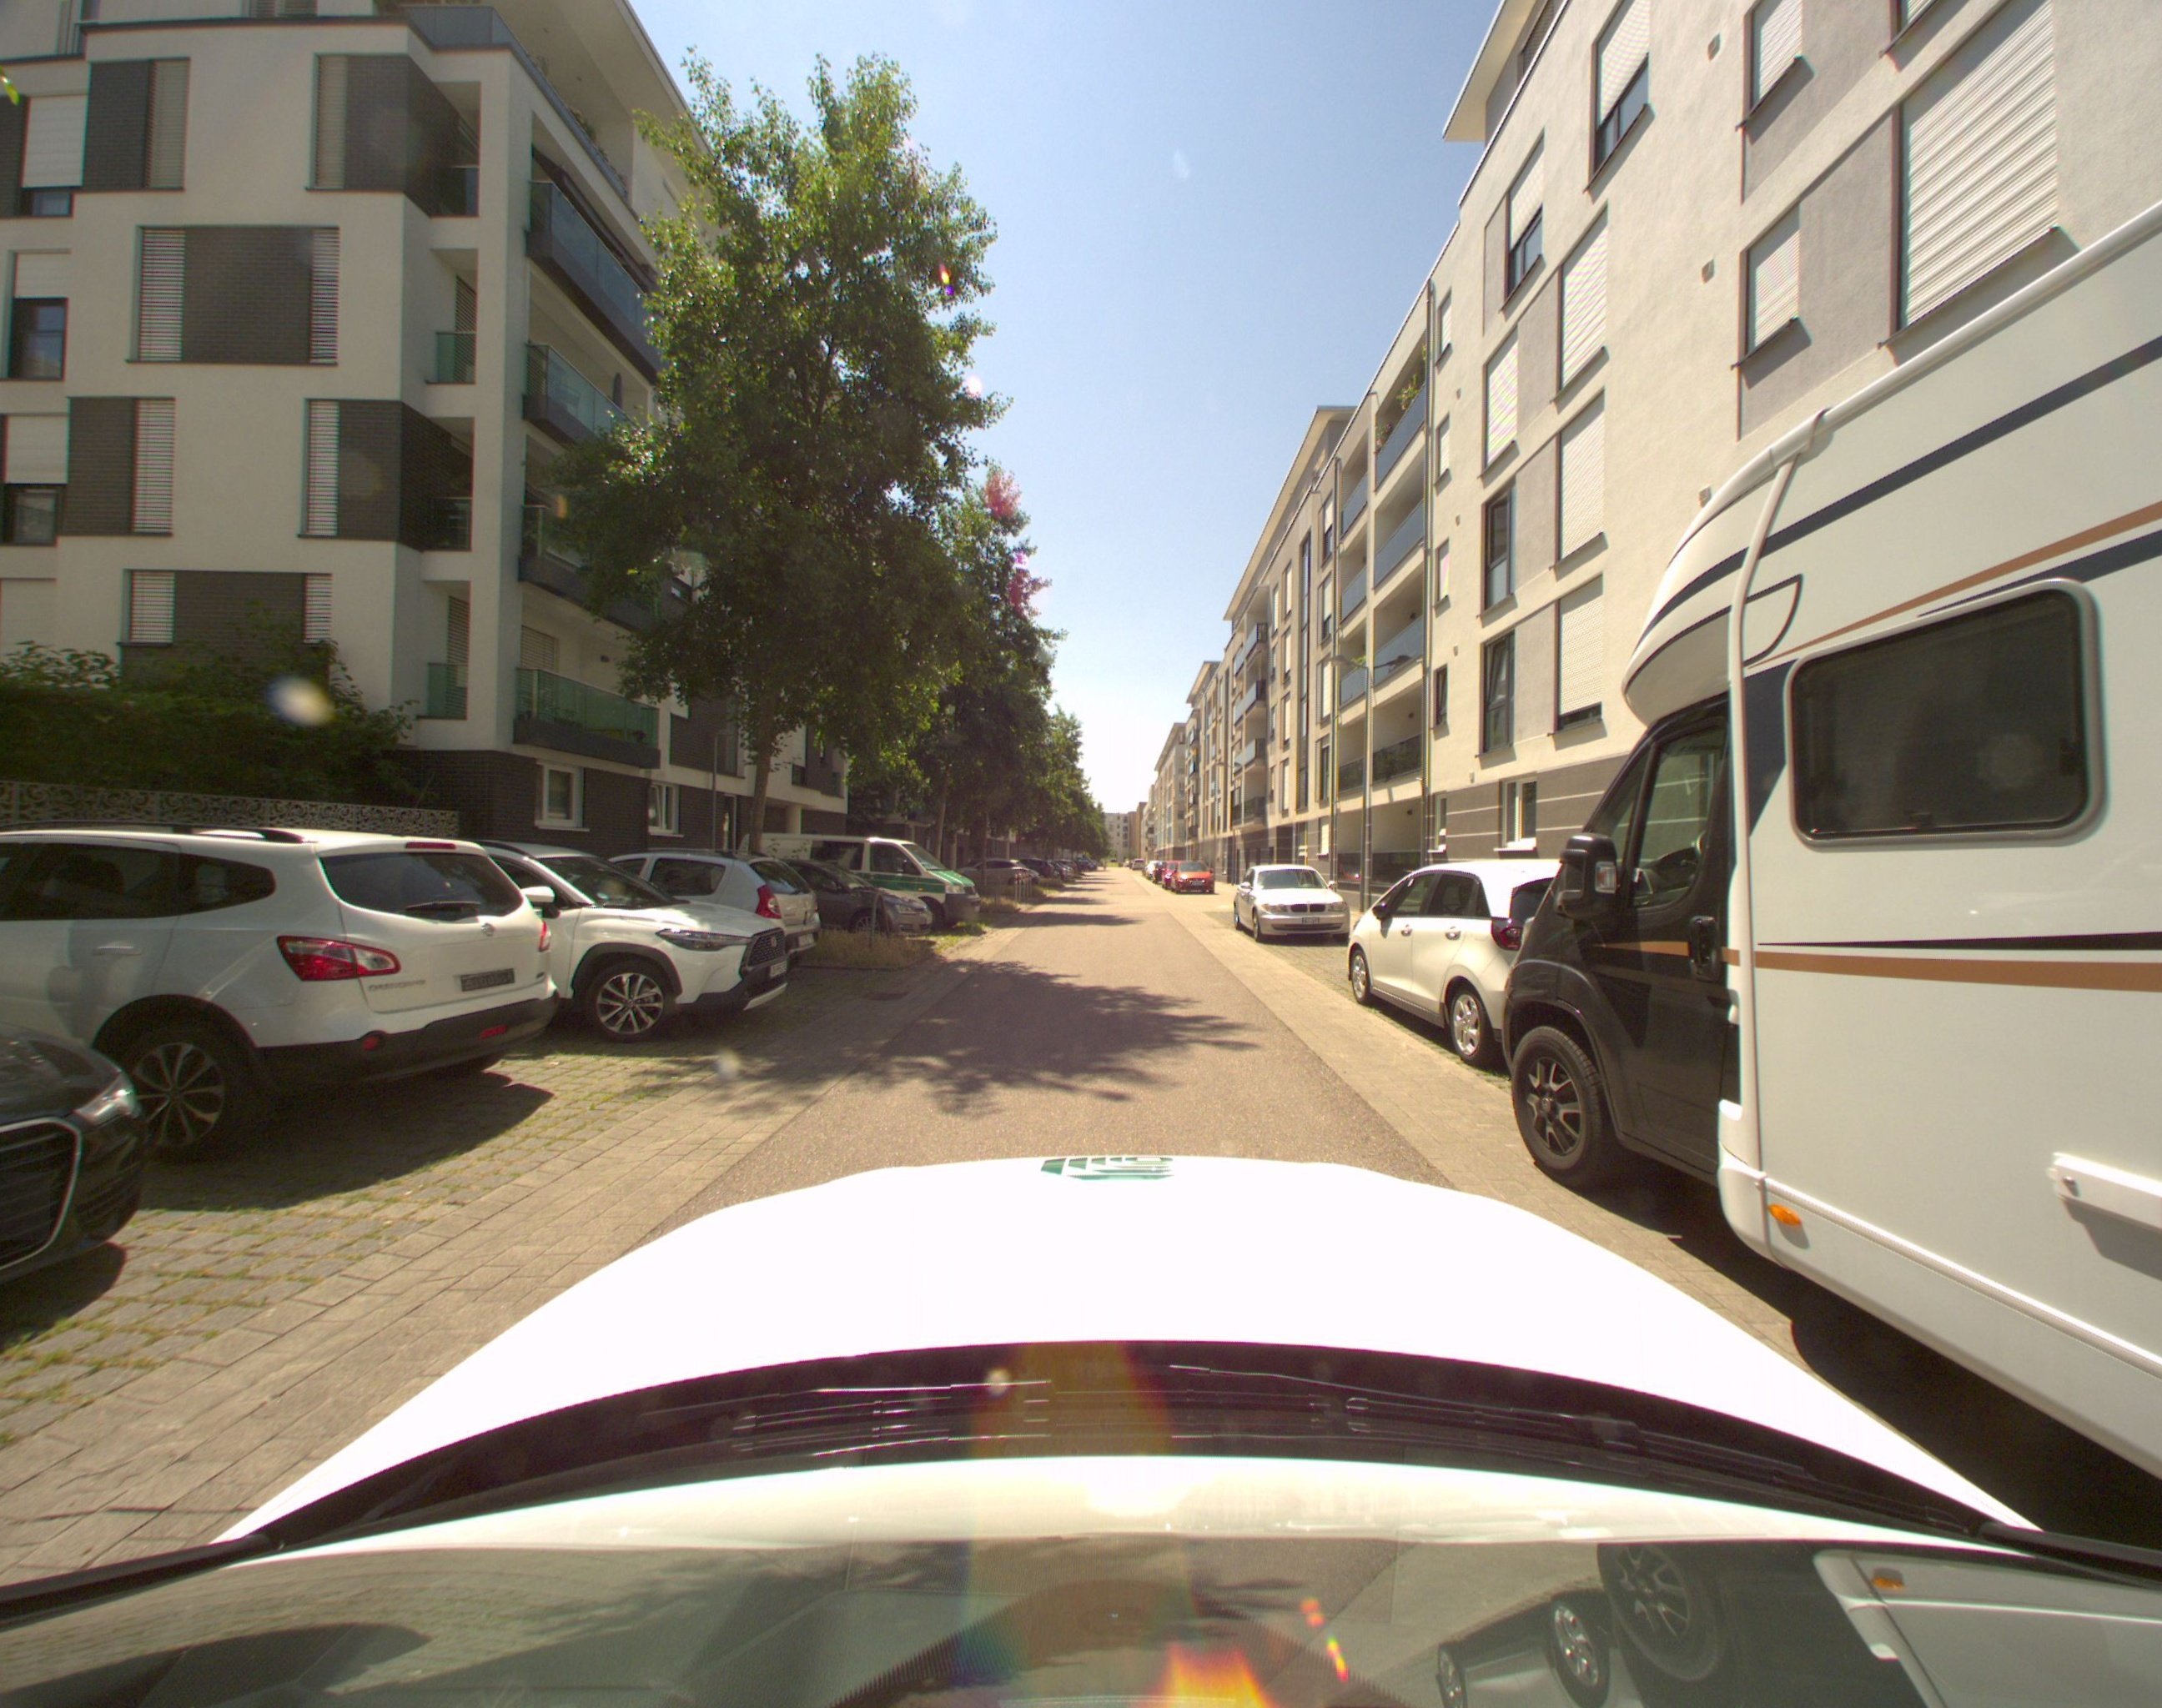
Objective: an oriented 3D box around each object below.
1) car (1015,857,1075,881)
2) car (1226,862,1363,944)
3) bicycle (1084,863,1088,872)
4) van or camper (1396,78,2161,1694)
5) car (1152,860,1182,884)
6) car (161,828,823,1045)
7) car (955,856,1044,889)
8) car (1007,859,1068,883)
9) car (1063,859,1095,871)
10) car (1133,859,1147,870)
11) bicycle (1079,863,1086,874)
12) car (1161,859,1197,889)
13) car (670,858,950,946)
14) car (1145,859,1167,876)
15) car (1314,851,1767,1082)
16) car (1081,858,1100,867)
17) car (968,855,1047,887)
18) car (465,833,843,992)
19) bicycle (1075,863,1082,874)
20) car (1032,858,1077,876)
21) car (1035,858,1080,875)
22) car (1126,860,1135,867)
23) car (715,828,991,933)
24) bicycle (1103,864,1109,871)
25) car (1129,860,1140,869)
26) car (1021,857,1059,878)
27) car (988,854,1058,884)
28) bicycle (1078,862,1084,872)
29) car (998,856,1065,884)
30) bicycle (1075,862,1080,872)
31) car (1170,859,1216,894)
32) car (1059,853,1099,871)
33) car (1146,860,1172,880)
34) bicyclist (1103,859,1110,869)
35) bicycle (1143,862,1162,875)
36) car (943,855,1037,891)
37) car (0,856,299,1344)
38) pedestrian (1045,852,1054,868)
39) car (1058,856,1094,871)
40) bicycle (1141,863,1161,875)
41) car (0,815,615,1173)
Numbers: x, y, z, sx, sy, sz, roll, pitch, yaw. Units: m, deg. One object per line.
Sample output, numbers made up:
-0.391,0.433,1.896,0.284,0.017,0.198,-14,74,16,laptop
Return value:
-2.692,1.119,61.734,4.347,1.710,2.000,-1,0,-1,car
4.153,0.878,16.547,1.838,1.416,4.429,1,-1,3,car
0.617,1.703,103.283,0.464,1.141,1.926,0,0,0,bicycle
3.154,0.058,1.270,2.430,2.906,7.828,1,-1,1,van or camper
5.542,1.114,53.016,1.636,1.462,4.119,-1,0,2,car
-5.017,0.689,7.572,4.547,1.594,1.964,2,-1,-3,car
-4.159,0.943,42.104,4.300,1.476,1.793,2,0,2,car
-2.898,1.124,54.717,3.963,1.445,1.774,2,-1,-2,car
-0.253,1.567,113.227,4.366,1.515,2.076,2,0,2,car
8.673,1.507,120.136,1.989,1.657,4.118,0,-1,3,car
0.138,1.499,84.576,0.371,1.180,1.815,0,-1,-9,bicycle
5.158,1.024,43.249,1.589,1.486,3.678,-1,0,3,car
-4.791,0.829,14.907,4.406,1.490,2.000,0,-1,0,car
6.689,1.211,72.707,1.732,1.485,4.231,0,0,2,car
3.661,0.760,7.541,1.801,1.505,4.260,-1,-1,0,car
2.231,1.916,184.680,3.964,2.014,2.005,0,-1,8,car
-3.992,0.923,44.663,3.971,1.592,1.885,2,0,2,car
-5.149,0.671,10.218,3.666,1.676,1.853,2,-1,1,car
-0.223,1.525,84.560,0.434,1.128,1.972,0,-1,-9,bicycle
-2.406,1.177,74.319,3.923,1.553,1.873,2,0,1,car
-2.184,1.232,77.210,4.169,1.486,1.957,1,-2,-2,car
11.422,2.168,188.779,1.986,1.675,4.001,0,0,1,car
-4.806,0.538,17.756,5.318,2.111,2.189,0,-1,4,car
3.810,2.008,122.166,0.895,1.129,2.041,0,0,2,bicycle
9.201,1.775,140.248,1.749,1.552,4.006,1,0,6,car
-3.356,1.097,67.180,2.922,1.500,1.849,3,0,1,car
-3.480,0.914,49.562,3.971,1.629,1.934,2,0,2,car
0.019,1.644,103.084,0.569,1.174,1.766,3,1,-4,bicycle
-3.123,0.999,52.078,3.969,1.651,1.920,2,0,4,car
-0.412,1.610,103.105,0.432,1.204,1.701,2,1,3,bicycle
5.125,1.005,37.709,1.730,1.487,4.261,-1,0,3,car
-0.331,1.214,125.865,6.000,2.816,2.606,0,-1,2,car
6.148,1.206,64.397,1.827,1.505,4.353,-1,0,2,car
3.815,1.449,122.059,0.950,1.459,0.800,0,-1,1,bicyclist
6.938,1.403,79.036,1.838,1.148,0.458,0,-1,-17,bicycle
-4.391,0.899,39.664,4.236,1.517,1.925,3,0,1,car
-5.709,0.680,2.511,4.831,1.457,1.830,2,-1,2,car
-4.215,0.794,108.756,1.004,2.014,1.131,0,-1,5,pedestrian
-0.698,1.374,120.438,5.125,2.119,2.313,1,0,2,car
6.821,1.432,79.405,1.911,1.133,0.611,-1,-1,11,bicycle
-5.407,0.627,4.950,3.962,1.629,1.952,2,-1,4,car
